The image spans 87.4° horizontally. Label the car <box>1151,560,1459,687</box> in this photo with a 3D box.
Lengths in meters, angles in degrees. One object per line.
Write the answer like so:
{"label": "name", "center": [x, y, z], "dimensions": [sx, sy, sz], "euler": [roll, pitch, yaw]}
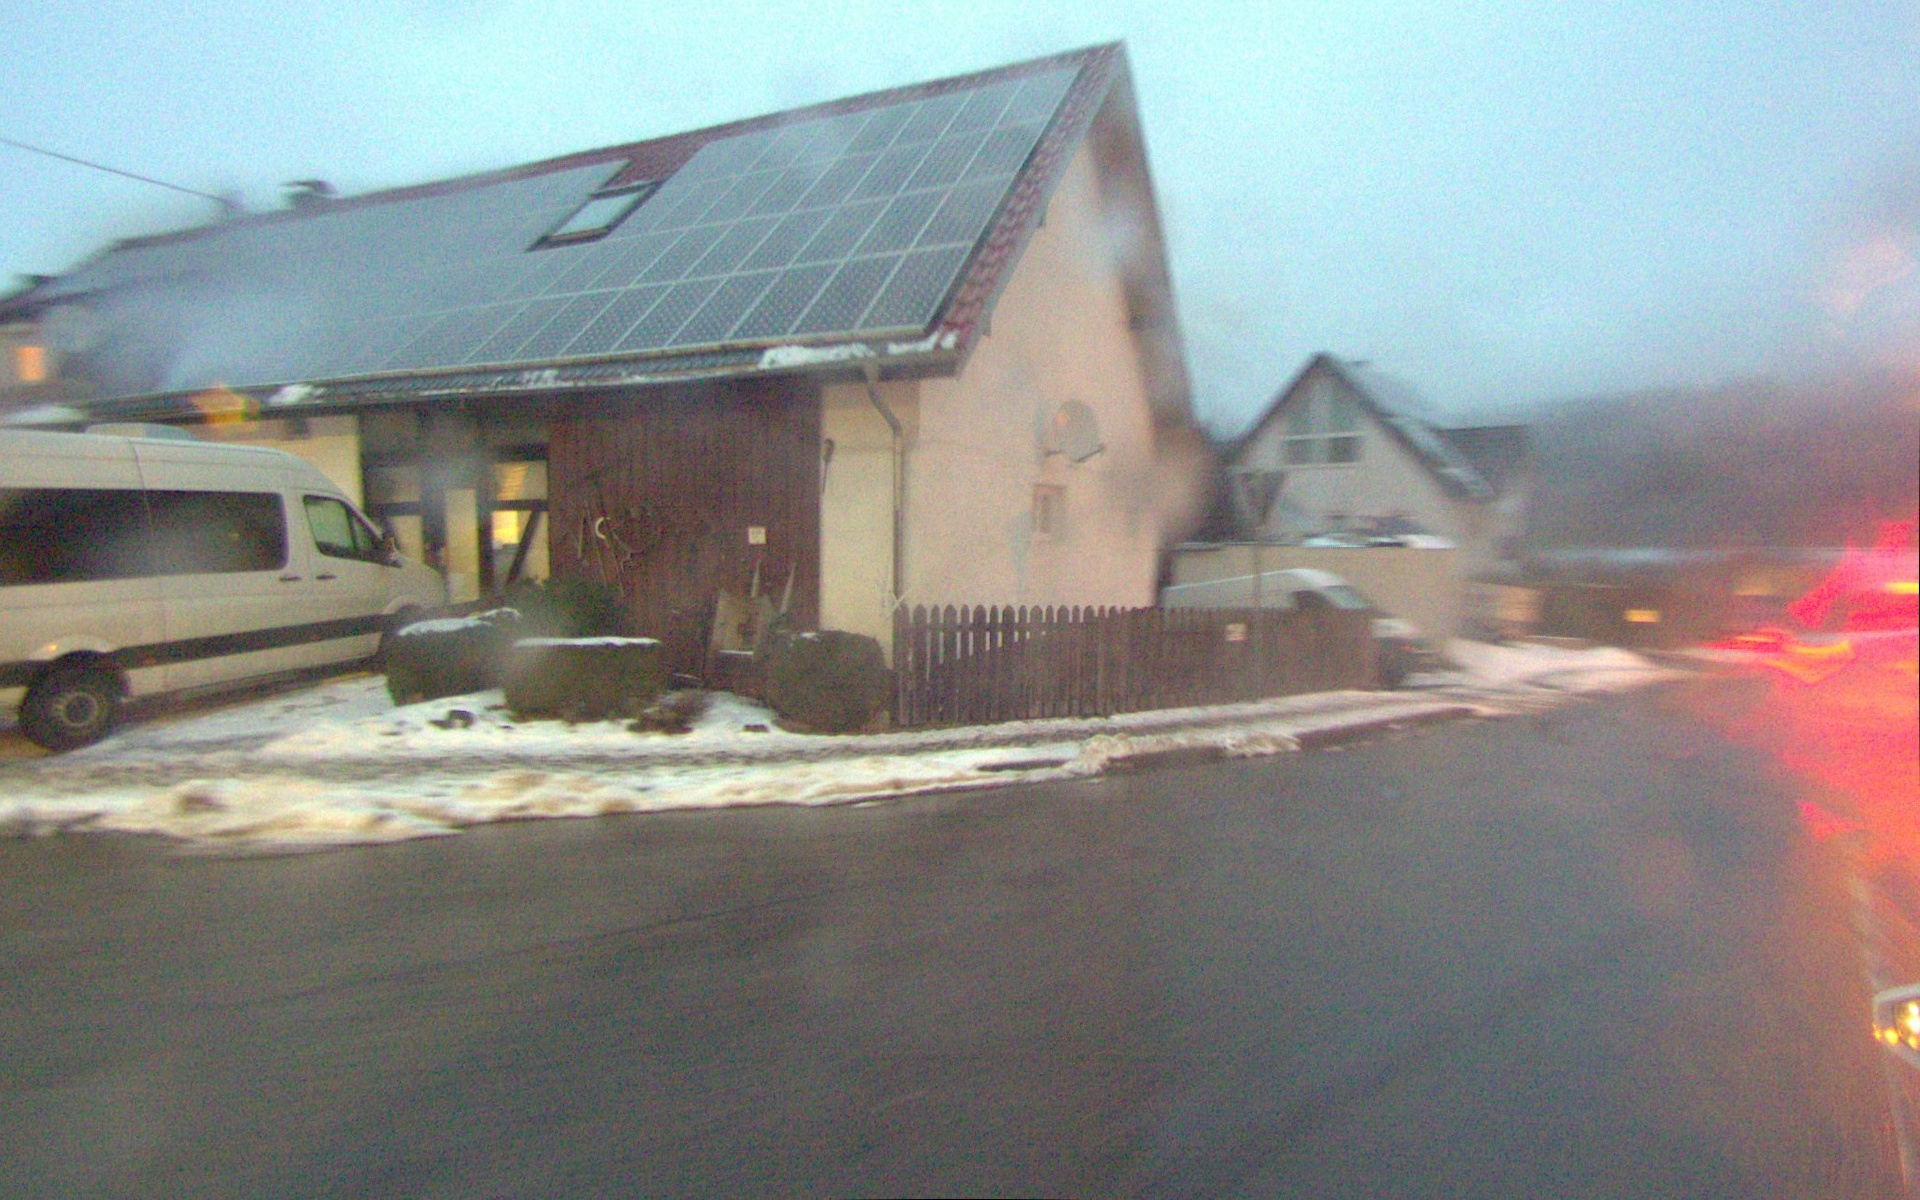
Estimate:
{"label": "car", "center": [6.653, 0.379, 19.761], "dimensions": [5.200, 2.040, 2.204], "euler": [4, 0, 42]}

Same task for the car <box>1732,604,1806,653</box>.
{"label": "car", "center": [30.142, 1.017, 37.411], "dimensions": [3.493, 1.555, 1.701], "euler": [-1, 4, -45]}

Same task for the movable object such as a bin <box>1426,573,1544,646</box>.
{"label": "movable object such as a bin", "center": [14.246, 0.244, 27.353], "dimensions": [1.422, 1.671, 2.356], "euler": [2, 6, -25]}

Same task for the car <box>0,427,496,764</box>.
{"label": "car", "center": [-7.754, -0.295, 10.256], "dimensions": [1.960, 2.589, 6.116], "euler": [2, 6, 14]}
